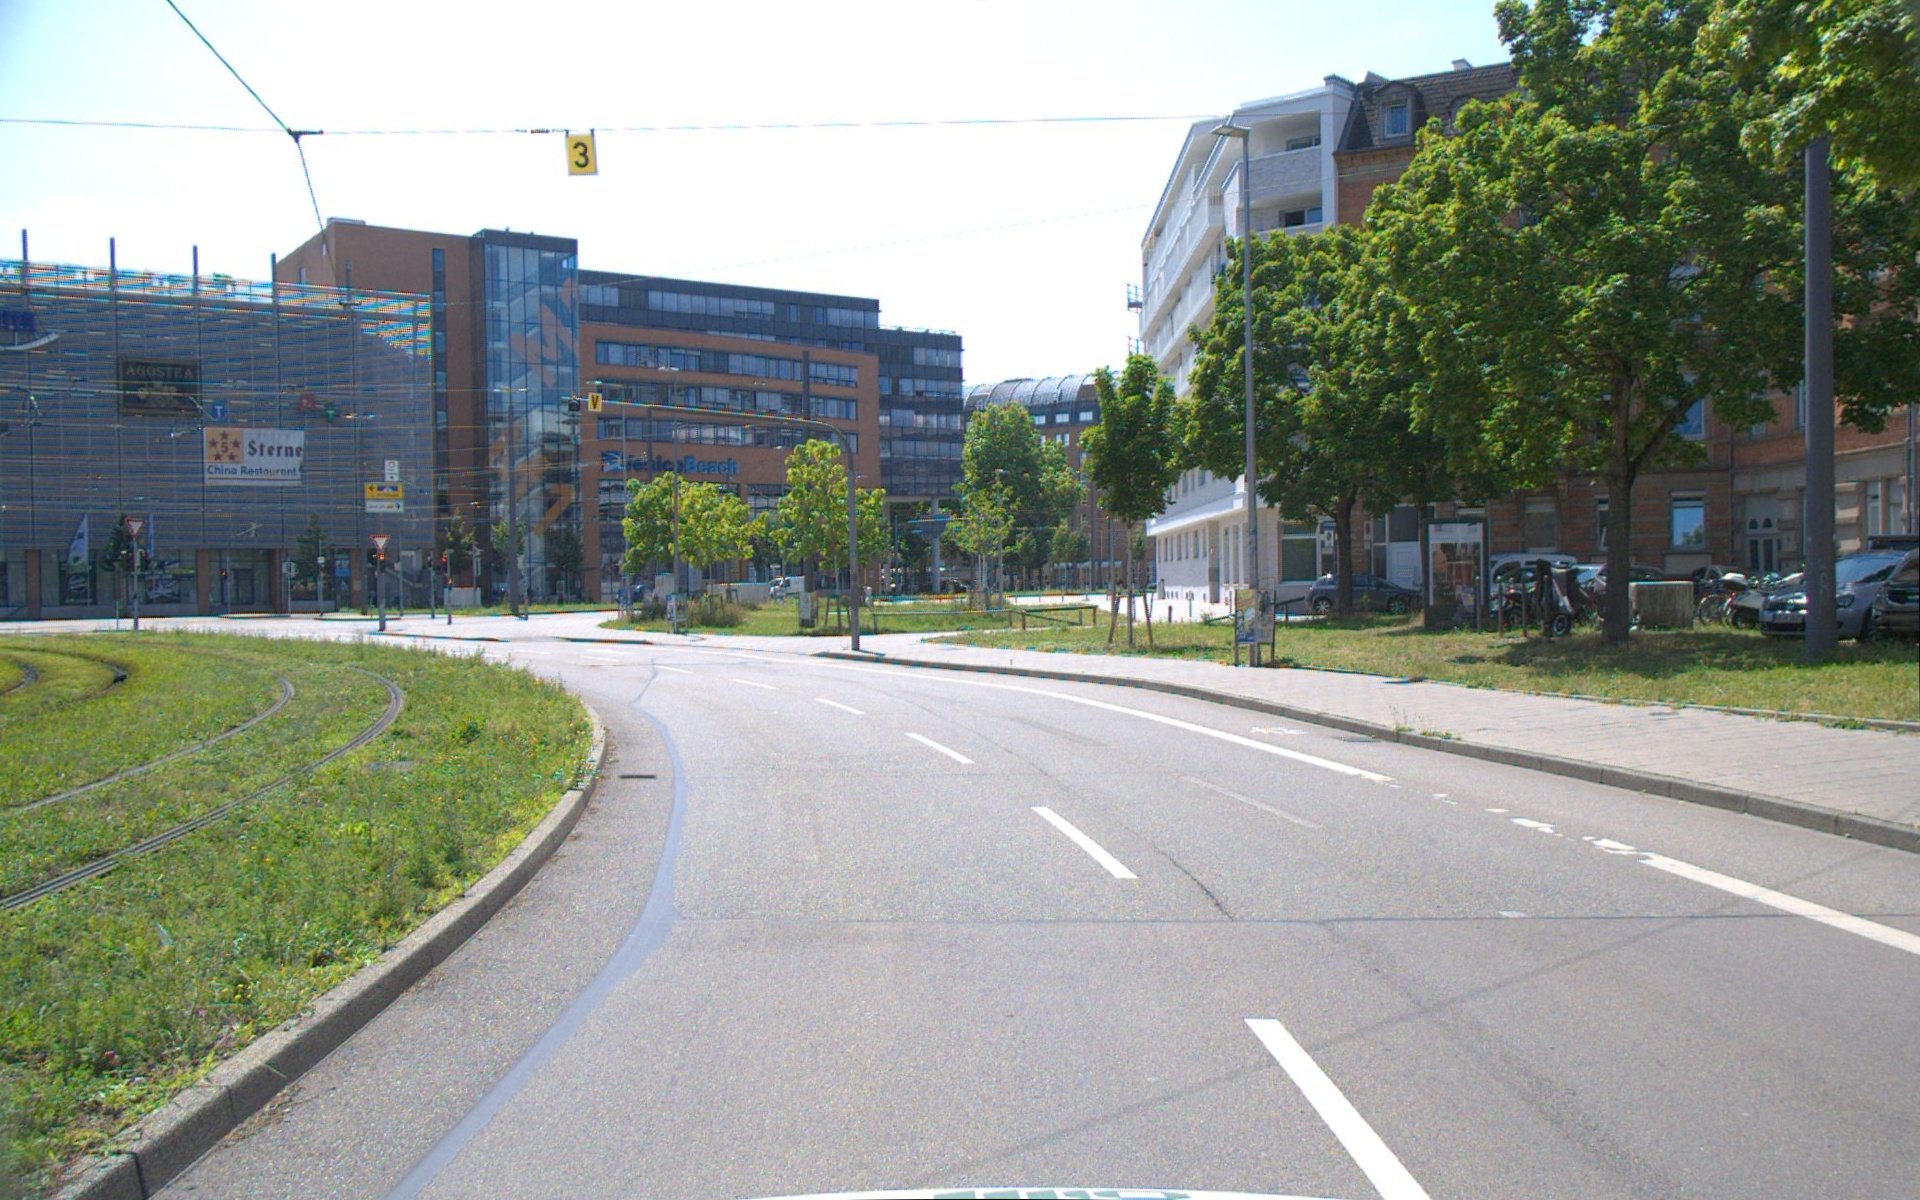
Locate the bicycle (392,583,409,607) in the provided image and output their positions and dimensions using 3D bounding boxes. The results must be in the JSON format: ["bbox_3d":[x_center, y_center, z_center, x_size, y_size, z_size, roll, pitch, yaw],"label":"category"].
[{"bbox_3d":[-42.077,-0.405,124.316,0.593,1.761,2.232,0,1,-35],"label":"bicycle"}]

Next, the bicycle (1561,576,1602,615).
[{"bbox_3d":[13.351,-0.096,35.535,0.489,0.819,1.451,0,1,35],"label":"bicycle"}]

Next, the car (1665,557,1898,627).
[{"bbox_3d":[16.846,-0.173,34.092,3.902,1.400,1.958,0,1,9],"label":"car"}]

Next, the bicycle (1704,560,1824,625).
[{"bbox_3d":[15.820,-0.150,32.581,2.034,1.257,0.632,0,0,11],"label":"bicycle"}]

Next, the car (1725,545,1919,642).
[{"bbox_3d":[13.928,-0.110,25.449,4.279,1.400,1.570,0,1,-25],"label":"car"}]

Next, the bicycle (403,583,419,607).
[{"bbox_3d":[-41.431,-0.384,124.808,0.593,1.761,2.232,0,1,-35],"label":"bicycle"}]

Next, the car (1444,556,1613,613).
[{"bbox_3d":[14.115,-0.381,41.024,3.938,1.355,1.744,0,1,-27],"label":"car"}]

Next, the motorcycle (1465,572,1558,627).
[{"bbox_3d":[11.525,-0.014,34.569,1.787,1.140,0.527,0,0,-6],"label":"motorcycle"}]

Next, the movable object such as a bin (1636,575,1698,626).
[{"bbox_3d":[13.422,0.005,31.404,0.965,0.953,0.702,0,0,12],"label":"movable object such as a bin"}]

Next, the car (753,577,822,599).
[{"bbox_3d":[-13.818,-0.953,132.387,5.435,1.697,1.969,-1,1,-42],"label":"car"}]

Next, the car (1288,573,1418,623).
[{"bbox_3d":[13.498,-0.090,56.822,4.041,1.653,1.692,0,1,31],"label":"car"}]

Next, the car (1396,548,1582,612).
[{"bbox_3d":[13.963,-0.522,43.615,4.800,1.628,1.821,0,1,-27],"label":"car"}]

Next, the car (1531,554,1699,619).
[{"bbox_3d":[15.248,-0.321,38.498,3.812,1.457,1.592,0,1,-28],"label":"car"}]

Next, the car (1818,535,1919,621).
[{"bbox_3d":[22.643,-0.528,39.578,1.880,1.937,4.655,0,1,1],"label":"car"}]

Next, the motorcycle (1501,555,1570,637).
[{"bbox_3d":[10.607,-0.086,30.544,0.661,1.437,1.857,-2,1,2],"label":"motorcycle"}]

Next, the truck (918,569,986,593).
[{"bbox_3d":[-1.051,-2.382,207.696,9.046,2.858,1.994,0,1,33],"label":"truck"}]

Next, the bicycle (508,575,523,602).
[{"bbox_3d":[-35.169,-0.914,130.845,0.480,2.049,2.319,0,0,-34],"label":"bicycle"}]

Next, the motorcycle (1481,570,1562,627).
[{"bbox_3d":[11.385,-0.035,33.564,1.489,1.140,0.478,0,0,0],"label":"motorcycle"}]

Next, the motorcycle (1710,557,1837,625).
[{"bbox_3d":[15.357,-0.173,31.281,2.034,1.257,0.813,0,0,16],"label":"motorcycle"}]

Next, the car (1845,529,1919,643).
[{"bbox_3d":[14.260,-0.198,22.691,4.030,1.495,1.783,0,1,-27],"label":"car"}]

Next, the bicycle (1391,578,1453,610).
[{"bbox_3d":[13.692,-0.181,48.997,2.022,0.952,0.503,0,0,-30],"label":"bicycle"}]

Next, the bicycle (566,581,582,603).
[{"bbox_3d":[-31.181,-0.646,133.708,0.480,1.828,2.232,0,1,-34],"label":"bicycle"}]

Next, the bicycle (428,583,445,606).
[{"bbox_3d":[-39.710,-0.420,125.483,0.593,1.761,2.232,0,1,-35],"label":"bicycle"}]
